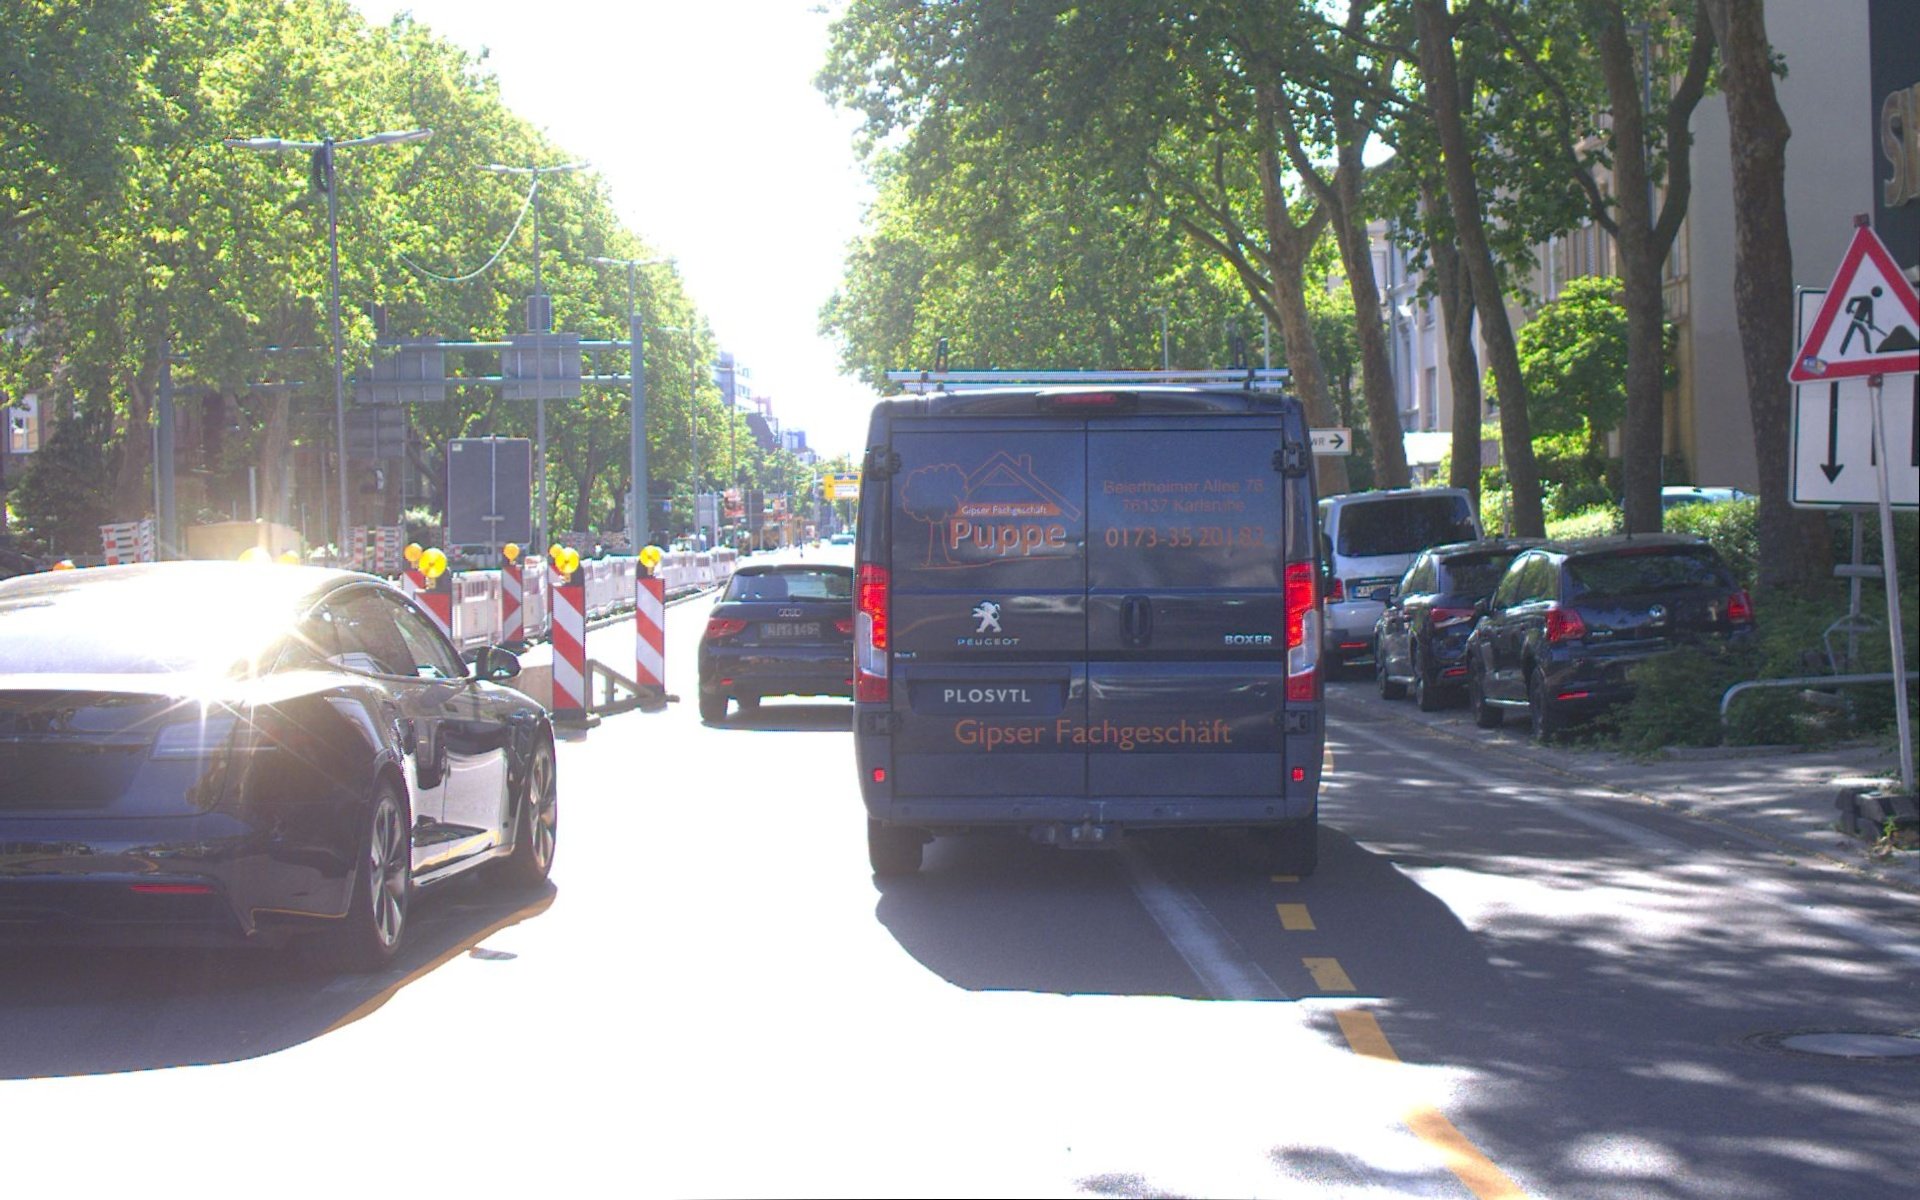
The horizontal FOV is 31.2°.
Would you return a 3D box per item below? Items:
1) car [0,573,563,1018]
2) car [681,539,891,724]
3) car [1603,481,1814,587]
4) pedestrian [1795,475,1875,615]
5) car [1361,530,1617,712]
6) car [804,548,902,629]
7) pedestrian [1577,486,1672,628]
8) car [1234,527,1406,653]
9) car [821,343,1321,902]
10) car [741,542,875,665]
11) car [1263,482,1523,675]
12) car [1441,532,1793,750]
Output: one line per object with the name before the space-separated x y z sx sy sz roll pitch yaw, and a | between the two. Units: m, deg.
car | -2.866 0.611 13.364 1.925 1.407 4.625 1 0 2
car | -1.555 0.229 30.742 1.746 1.402 4.001 0 3 -3
car | 13.437 -1.183 61.860 1.704 1.847 3.507 -1 1 -34
pedestrian | 10.585 -0.668 41.605 0.705 1.643 0.675 1 4 -4
car | 4.721 0.146 31.164 1.657 1.535 4.129 0 1 0
car | -1.675 -0.203 54.626 1.421 1.221 3.438 -1 1 0
pedestrian | 7.593 -0.495 39.323 0.727 1.597 1.267 -1 1 -6
car | 4.516 -0.154 43.597 1.748 1.472 4.101 -2 1 1
car | 0.473 0.039 16.422 2.095 2.347 3.933 0 2 0
car | -1.843 0.019 41.986 1.547 1.420 3.555 -1 1 -2
car | 4.670 -0.267 37.848 2.025 1.940 5.274 -1 1 -2
car | 4.893 0.251 26.176 1.763 1.503 4.251 -1 1 -1
